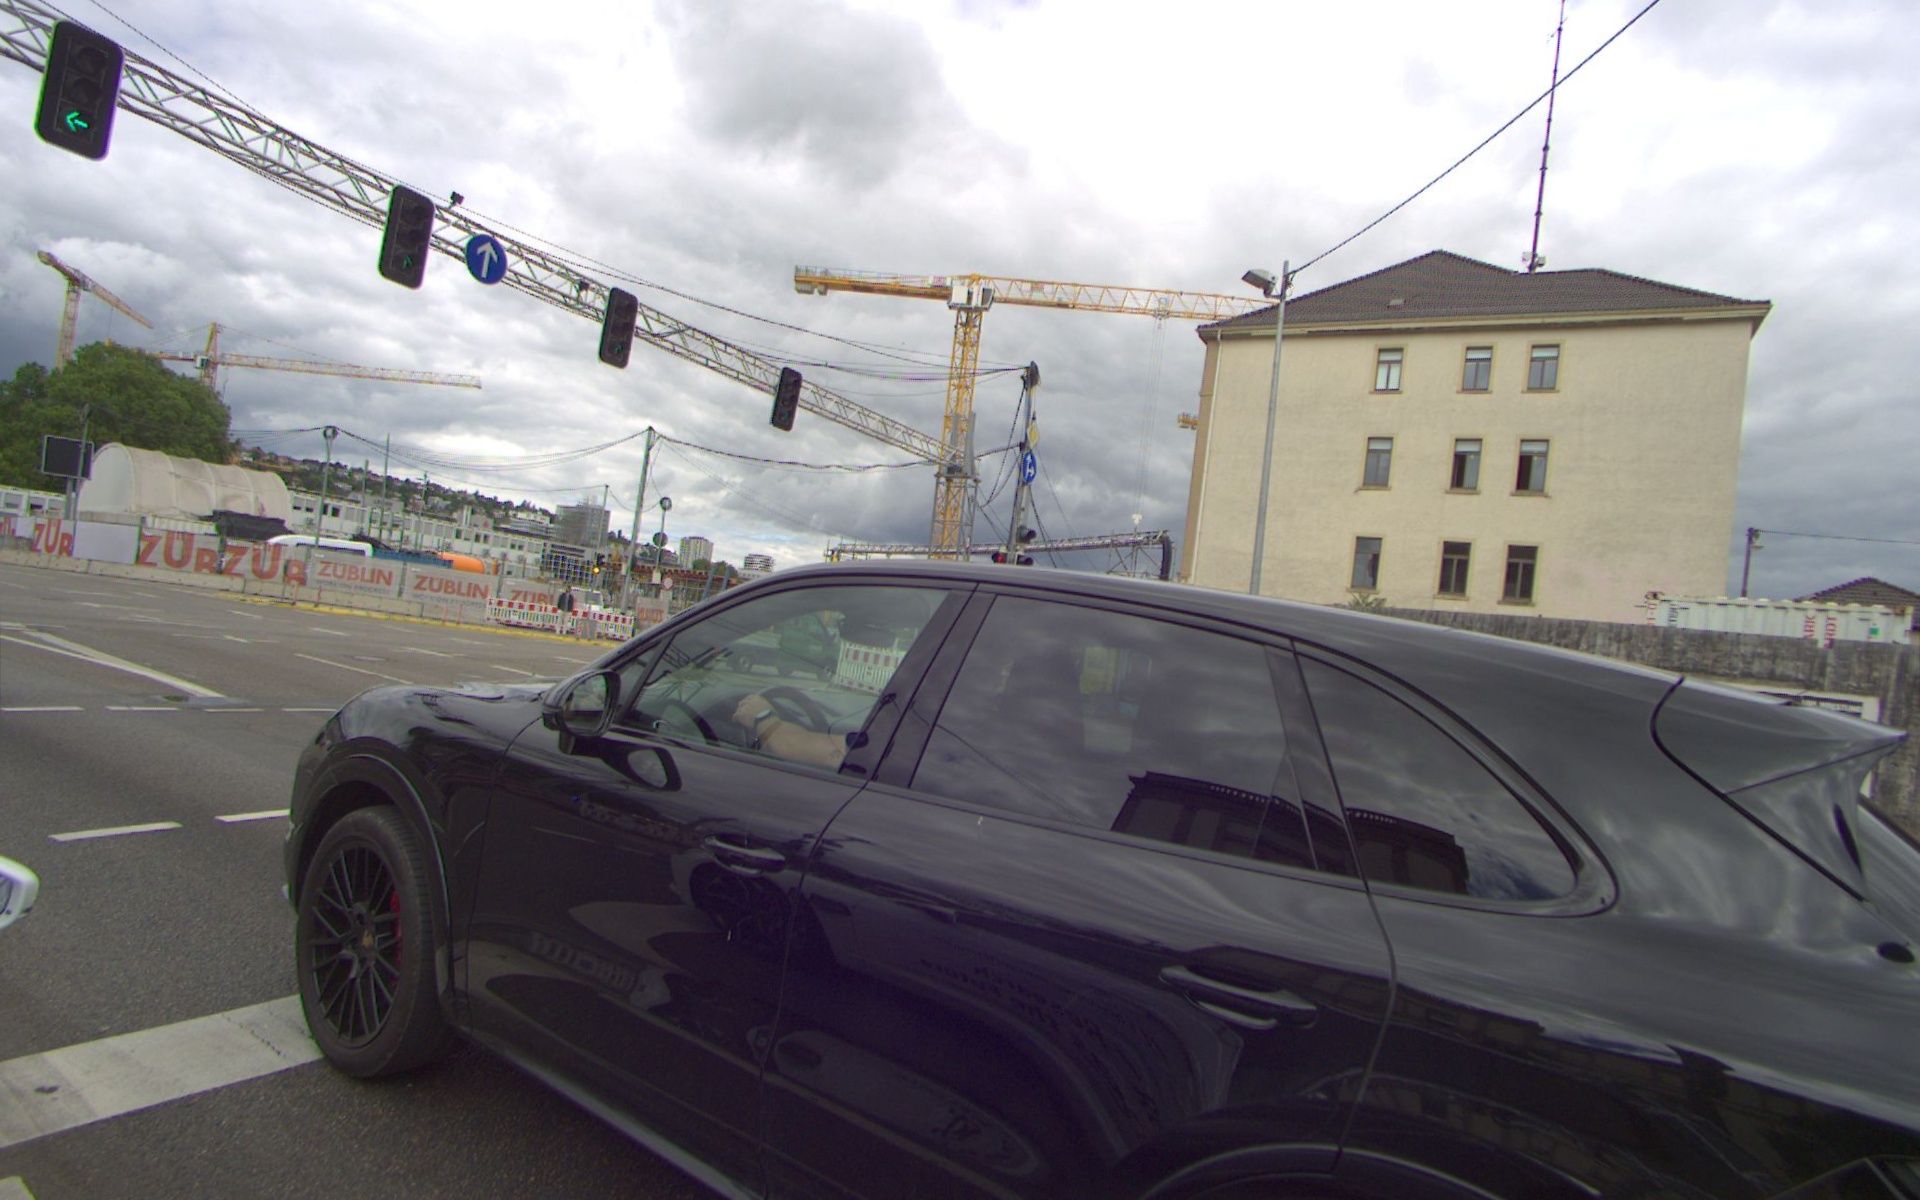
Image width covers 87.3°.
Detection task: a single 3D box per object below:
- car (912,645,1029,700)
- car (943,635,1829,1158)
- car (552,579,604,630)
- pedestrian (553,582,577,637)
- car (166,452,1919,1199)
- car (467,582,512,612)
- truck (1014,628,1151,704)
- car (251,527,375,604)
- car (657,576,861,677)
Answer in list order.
[{"bbox_3d":[0.479,2.787,38.113,1.988,1.643,4.814,6,-3,34],"label":"car"},{"bbox_3d":[2.080,1.270,5.681,3.935,1.644,1.679,6,-2,32],"label":"car"},{"bbox_3d":[-16.887,0.191,44.381,1.756,1.976,3.109,7,-2,-25],"label":"car"},{"bbox_3d":[-14.937,0.348,38.053,0.580,1.999,0.433,8,-1,-16],"label":"pedestrian"},{"bbox_3d":[-0.143,0.651,2.855,4.411,1.735,1.827,6,-2,32],"label":"car"},{"bbox_3d":[-29.941,-0.188,63.982,1.668,1.545,3.961,8,-2,-37],"label":"car"},{"bbox_3d":[5.998,3.224,47.488,2.583,2.835,8.999,6,-3,32],"label":"truck"},{"bbox_3d":[-27.331,-1.431,42.574,3.978,2.692,1.661,9,-2,-44],"label":"car"},{"bbox_3d":[-5.779,0.875,29.763,2.268,2.331,5.764,6,-2,35],"label":"car"}]
